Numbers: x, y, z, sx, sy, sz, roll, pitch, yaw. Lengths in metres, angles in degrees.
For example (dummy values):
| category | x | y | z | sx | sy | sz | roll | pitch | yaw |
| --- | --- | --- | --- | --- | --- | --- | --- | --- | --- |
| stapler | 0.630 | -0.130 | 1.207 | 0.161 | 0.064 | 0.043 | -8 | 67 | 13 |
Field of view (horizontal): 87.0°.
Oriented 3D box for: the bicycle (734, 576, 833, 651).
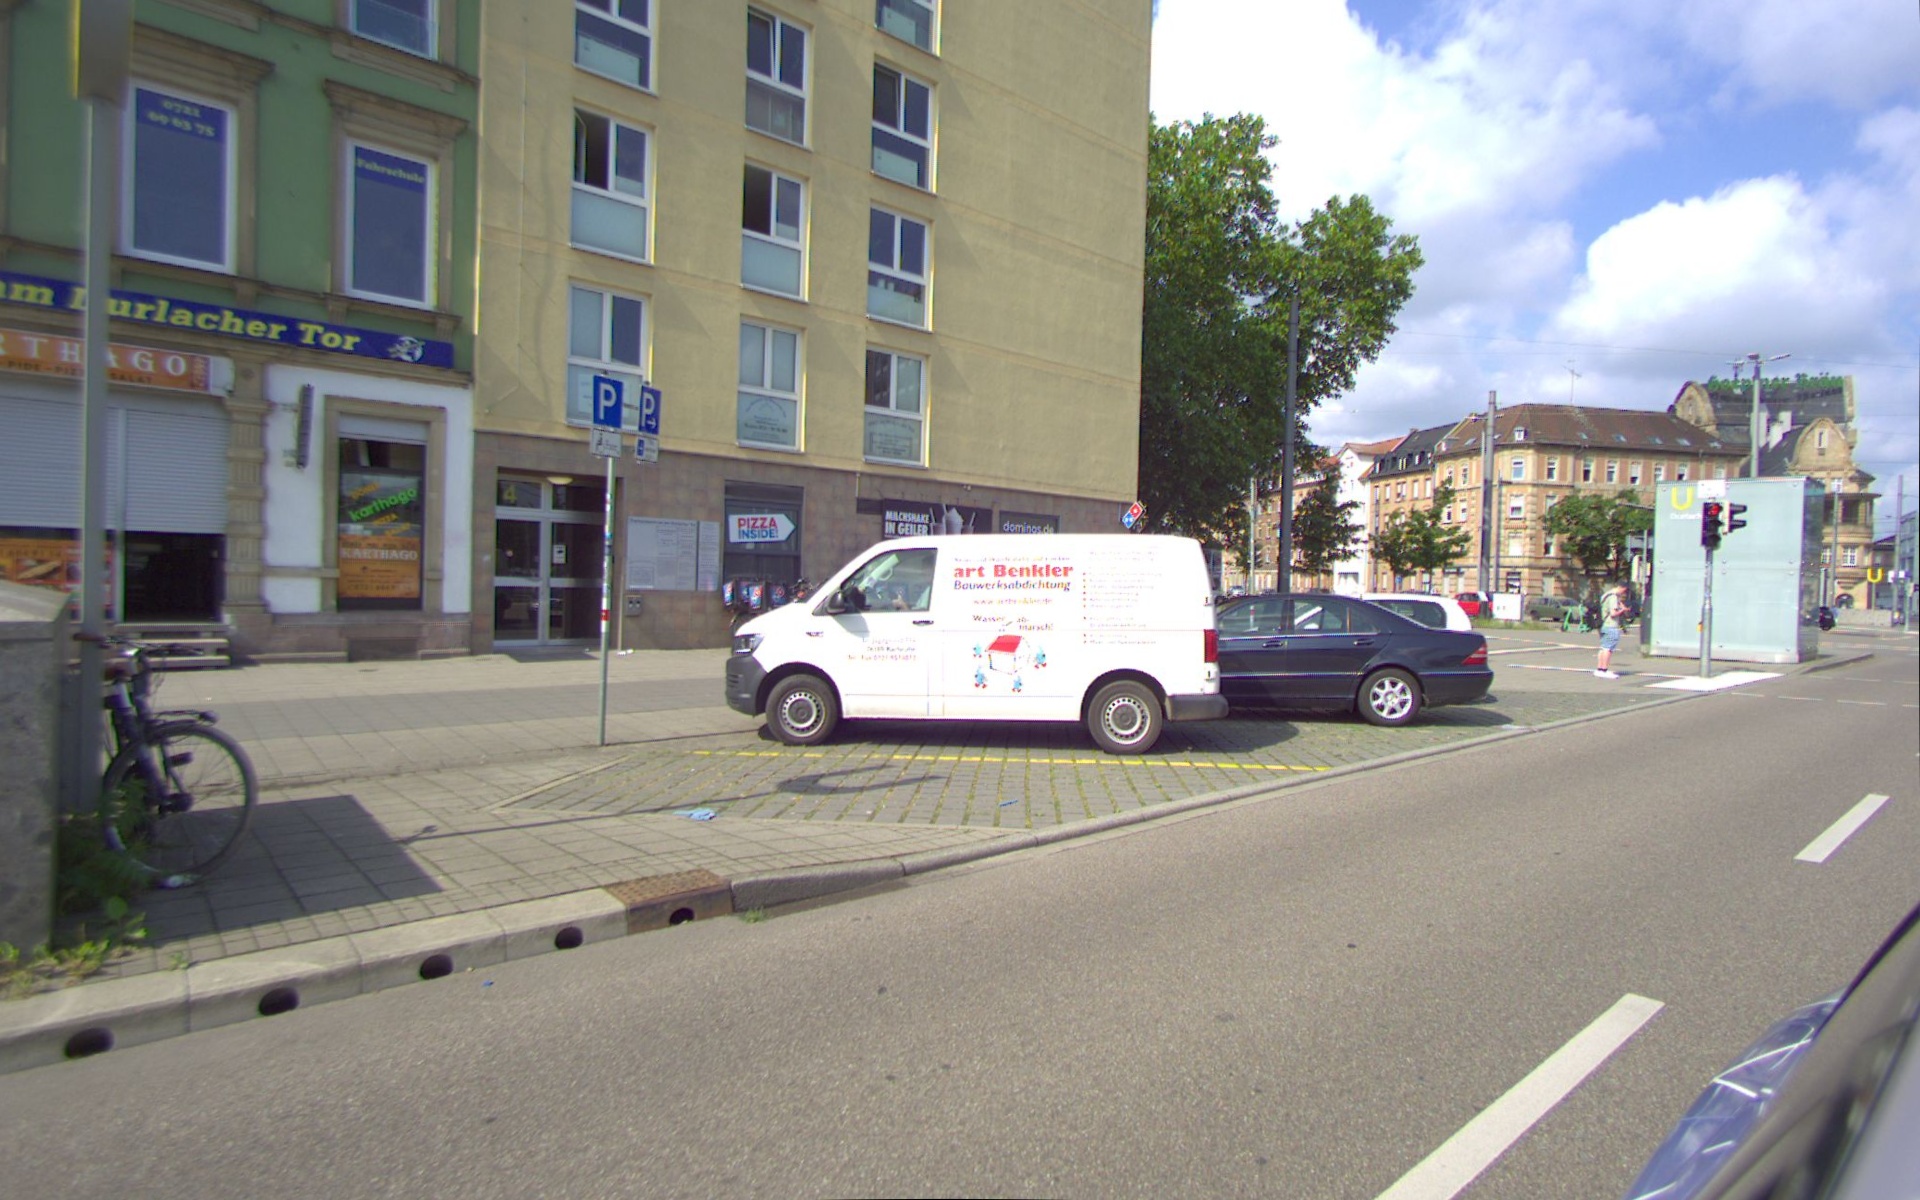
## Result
| category | x | y | z | sx | sy | sz | roll | pitch | yaw |
| --- | --- | --- | --- | --- | --- | --- | --- | --- | --- |
| bicycle | -2.962 | 0.208 | 17.098 | 1.617 | 1.216 | 0.487 | 0 | 2 | -41 |

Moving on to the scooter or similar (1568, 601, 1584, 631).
| category | x | y | z | sx | sy | sz | roll | pitch | yaw |
| --- | --- | --- | --- | --- | --- | --- | --- | --- | --- |
| scooter or similar | 25.108 | 0.640 | 41.240 | 0.377 | 1.172 | 0.923 | 2 | 2 | 22 |

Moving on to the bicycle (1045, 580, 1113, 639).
| category | x | y | z | sx | sy | sz | roll | pitch | yaw |
| --- | --- | --- | --- | --- | --- | --- | --- | --- | --- |
| bicycle | 2.698 | 0.199 | 22.924 | 1.614 | 1.288 | 0.488 | 0 | 2 | -36 |

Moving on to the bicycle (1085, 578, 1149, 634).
| category | x | y | z | sx | sy | sz | roll | pitch | yaw |
| --- | --- | --- | --- | --- | --- | --- | --- | --- | --- |
| bicycle | 3.720 | 0.132 | 23.917 | 1.614 | 1.288 | 0.488 | 0 | 2 | -36 |

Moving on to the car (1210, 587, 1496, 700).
| category | x | y | z | sx | sy | sz | roll | pitch | yaw |
| --- | --- | --- | --- | --- | --- | --- | --- | --- | --- |
| car | 5.399 | 0.564 | 14.317 | 3.454 | 1.458 | 1.715 | 0 | 1 | 9 |

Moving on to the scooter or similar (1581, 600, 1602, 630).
| category | x | y | z | sx | sy | sz | roll | pitch | yaw |
| --- | --- | --- | --- | --- | --- | --- | --- | --- | --- |
| scooter or similar | 25.686 | 0.611 | 41.185 | 0.375 | 1.172 | 0.927 | 1 | 2 | 10 |

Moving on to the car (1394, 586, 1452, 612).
| category | x | y | z | sx | sy | sz | roll | pitch | yaw |
| --- | --- | --- | --- | --- | --- | --- | --- | --- | --- |
| car | 32.443 | -0.107 | 71.068 | 1.960 | 1.570 | 4.006 | -1 | 3 | -5 |

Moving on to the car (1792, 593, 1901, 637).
| category | x | y | z | sx | sy | sz | roll | pitch | yaw |
| --- | --- | --- | --- | --- | --- | --- | --- | --- | --- |
| car | 45.622 | 0.744 | 52.108 | 1.967 | 2.038 | 3.993 | -5 | 3 | -41 |

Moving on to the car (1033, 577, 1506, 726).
| category | x | y | z | sx | sy | sz | roll | pitch | yaw |
| --- | --- | --- | --- | --- | --- | --- | --- | --- | --- |
| car | 3.422 | 0.515 | 12.016 | 4.979 | 1.487 | 1.887 | 1 | 2 | 8 |

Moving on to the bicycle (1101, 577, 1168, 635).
| category | x | y | z | sx | sy | sz | roll | pitch | yaw |
| --- | --- | --- | --- | --- | --- | --- | --- | --- | --- |
| bicycle | 4.058 | 0.134 | 23.497 | 1.614 | 1.288 | 0.531 | 0 | 2 | -36 |

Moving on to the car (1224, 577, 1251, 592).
| category | x | y | z | sx | sy | sz | roll | pitch | yaw |
| --- | --- | --- | --- | --- | --- | --- | --- | --- | --- |
| car | 33.919 | -1.944 | 123.686 | 1.750 | 1.727 | 4.006 | 1 | 2 | -6 |

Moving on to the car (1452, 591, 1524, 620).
| category | x | y | z | sx | sy | sz | roll | pitch | yaw |
| --- | --- | --- | --- | --- | --- | --- | --- | --- | --- |
| car | 32.825 | 0.322 | 63.028 | 1.960 | 1.537 | 4.007 | -3 | 3 | -8 |

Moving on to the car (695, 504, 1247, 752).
| category | x | y | z | sx | sy | sz | roll | pitch | yaw |
| --- | --- | --- | --- | --- | --- | --- | --- | --- | --- |
| car | 0.116 | 0.220 | 9.857 | 4.812 | 2.111 | 2.077 | 0 | 0 | 5 |

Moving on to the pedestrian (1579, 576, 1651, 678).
| category | x | y | z | sx | sy | sz | roll | pitch | yaw |
| --- | --- | --- | --- | --- | --- | --- | --- | --- | --- |
| pedestrian | 12.003 | 0.473 | 18.569 | 0.985 | 1.781 | 0.780 | -1 | 3 | 26 |

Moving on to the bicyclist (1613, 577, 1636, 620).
| category | x | y | z | sx | sy | sz | roll | pitch | yaw |
| --- | --- | --- | --- | --- | --- | --- | --- | --- | --- |
| bicyclist | 28.408 | -0.065 | 43.268 | 0.708 | 1.765 | 0.818 | 5 | 4 | 35 |

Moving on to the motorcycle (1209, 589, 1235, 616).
| category | x | y | z | sx | sy | sz | roll | pitch | yaw |
| --- | --- | --- | --- | --- | --- | --- | --- | --- | --- |
| motorcycle | 9.086 | 0.072 | 35.181 | 0.595 | 0.914 | 1.892 | -1 | 1 | 6 |

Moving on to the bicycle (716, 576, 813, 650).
| category | x | y | z | sx | sy | sz | roll | pitch | yaw |
| --- | --- | --- | --- | --- | --- | --- | --- | --- | --- |
| bicycle | -3.363 | 0.212 | 17.474 | 1.617 | 1.216 | 0.487 | 0 | 2 | -41 |

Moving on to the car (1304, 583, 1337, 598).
| category | x | y | z | sx | sy | sz | roll | pitch | yaw |
| --- | --- | --- | --- | --- | --- | --- | --- | --- | --- |
| car | 41.354 | -1.142 | 116.195 | 1.736 | 1.547 | 4.264 | 3 | 1 | -9 |

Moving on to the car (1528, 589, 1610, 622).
| category | x | y | z | sx | sy | sz | roll | pitch | yaw |
| --- | --- | --- | --- | --- | --- | --- | --- | --- | --- |
| car | 34.390 | 0.277 | 57.301 | 1.789 | 1.531 | 4.007 | -3 | 3 | -8 |

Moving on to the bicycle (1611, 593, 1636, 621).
| category | x | y | z | sx | sy | sz | roll | pitch | yaw |
| --- | --- | --- | --- | --- | --- | --- | --- | --- | --- |
| bicycle | 28.434 | 0.307 | 43.364 | 0.785 | 1.141 | 1.966 | 2 | 2 | 36 |

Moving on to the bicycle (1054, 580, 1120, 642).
| category | x | y | z | sx | sy | sz | roll | pitch | yaw |
| --- | --- | --- | --- | --- | --- | --- | --- | --- | --- |
| bicycle | 2.817 | 0.223 | 22.297 | 0.486 | 1.288 | 1.862 | 2 | 2 | 41 |

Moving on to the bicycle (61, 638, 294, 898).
| category | x | y | z | sx | sy | sz | roll | pitch | yaw |
| --- | --- | --- | --- | --- | --- | --- | --- | --- | --- |
| bicycle | -3.833 | 0.717 | 4.903 | 1.769 | 1.016 | 0.505 | -1 | 0 | 39 |

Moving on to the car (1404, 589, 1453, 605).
| category | x | y | z | sx | sy | sz | roll | pitch | yaw |
| --- | --- | --- | --- | --- | --- | --- | --- | --- | --- |
| car | 44.405 | -0.281 | 95.982 | 1.649 | 1.464 | 4.241 | -2 | 1 | -19 |

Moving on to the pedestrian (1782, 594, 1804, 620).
| category | x | y | z | sx | sy | sz | roll | pitch | yaw |
| --- | --- | --- | --- | --- | --- | --- | --- | --- | --- |
| pedestrian | 54.236 | 0.433 | 65.917 | 0.783 | 1.662 | 0.707 | 2 | 1 | 7 |
